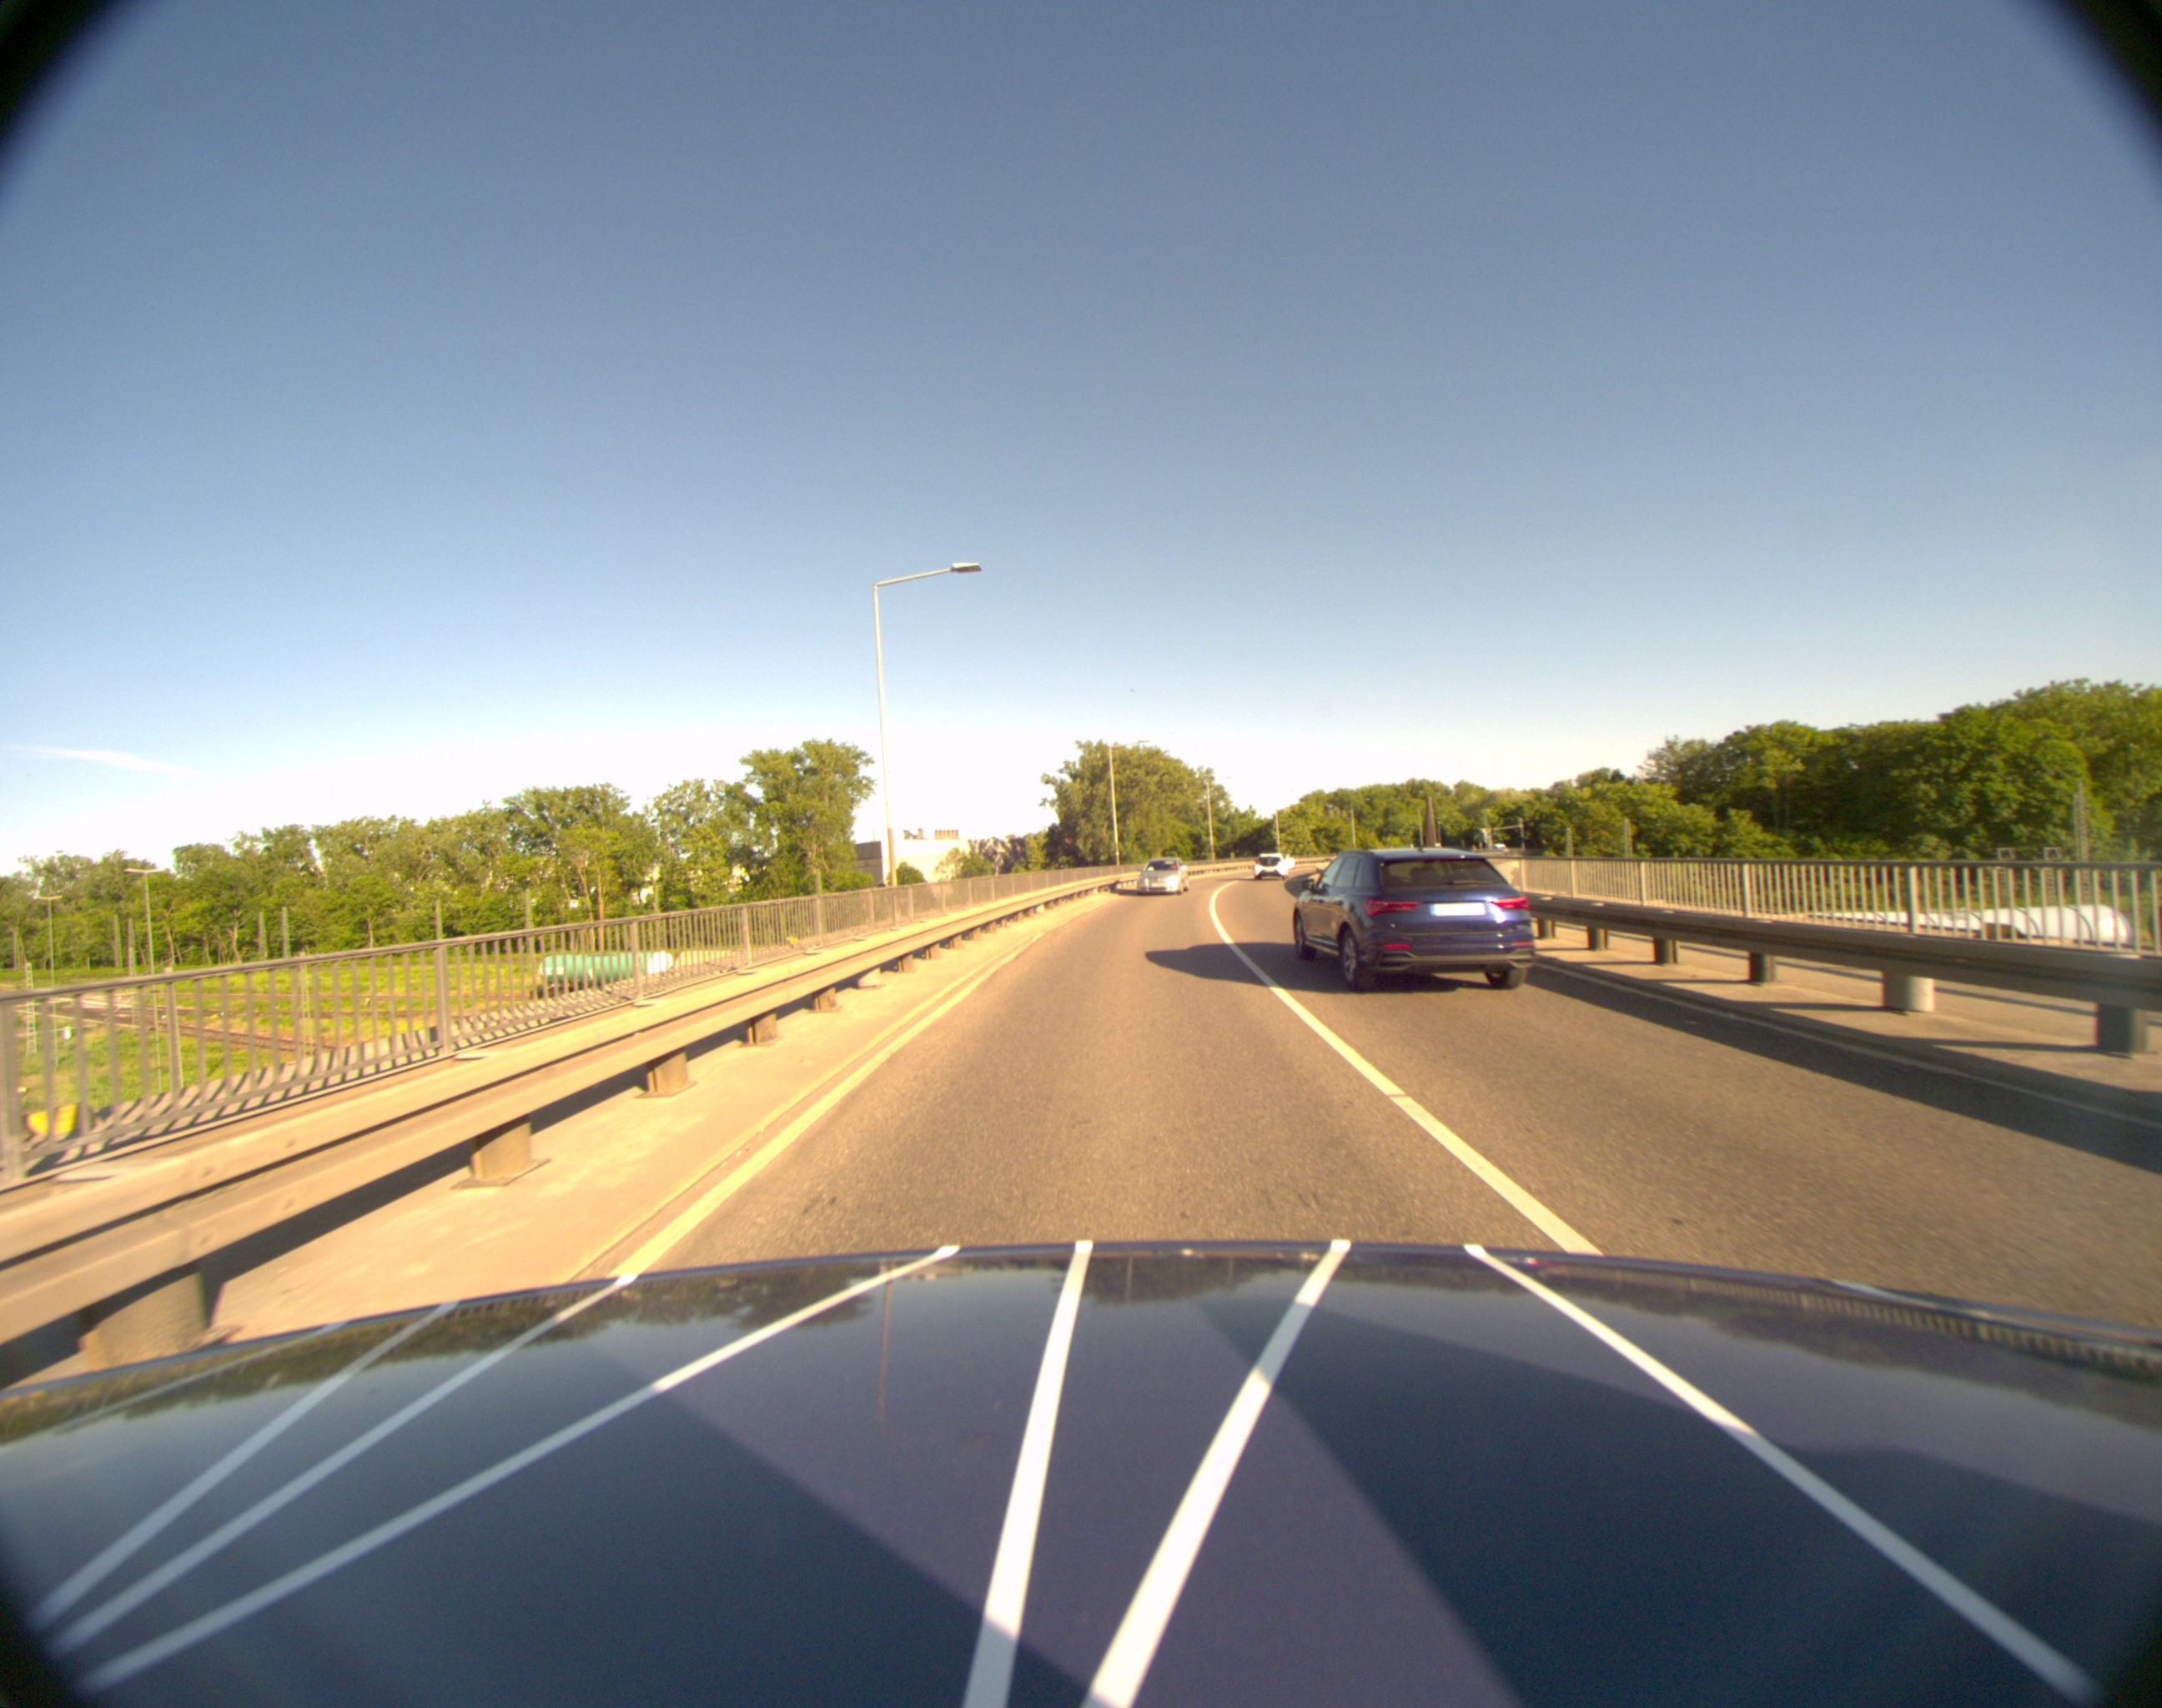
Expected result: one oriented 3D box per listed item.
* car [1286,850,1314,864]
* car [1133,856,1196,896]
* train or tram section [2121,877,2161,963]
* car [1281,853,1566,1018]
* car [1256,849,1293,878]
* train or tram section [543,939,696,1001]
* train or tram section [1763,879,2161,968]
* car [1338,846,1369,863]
[{"bbox_3d":[25.130,0.298,86.926,1.989,1.465,4.138,-1,0,32],"label":"car"},{"bbox_3d":[3.435,0.838,30.528,1.762,1.428,4.335,-2,0,16],"label":"car"},{"bbox_3d":[66.824,3.449,39.238,16.279,4.564,3.911,-2,0,18],"label":"train or tram section"},{"bbox_3d":[3.845,0.792,9.409,1.828,1.543,4.185,-2,0,4],"label":"car"},{"bbox_3d":[11.175,0.523,43.781,1.839,1.510,3.774,-2,0,17],"label":"car"},{"bbox_3d":[-44.640,11.047,73.371,15.148,5.153,3.341,-2,0,18],"label":"train or tram section"},{"bbox_3d":[51.126,3.936,44.262,16.734,4.564,3.911,-2,0,18],"label":"train or tram section"},{"bbox_3d":[27.017,0.023,75.238,1.850,1.614,4.110,-1,0,34],"label":"car"}]
